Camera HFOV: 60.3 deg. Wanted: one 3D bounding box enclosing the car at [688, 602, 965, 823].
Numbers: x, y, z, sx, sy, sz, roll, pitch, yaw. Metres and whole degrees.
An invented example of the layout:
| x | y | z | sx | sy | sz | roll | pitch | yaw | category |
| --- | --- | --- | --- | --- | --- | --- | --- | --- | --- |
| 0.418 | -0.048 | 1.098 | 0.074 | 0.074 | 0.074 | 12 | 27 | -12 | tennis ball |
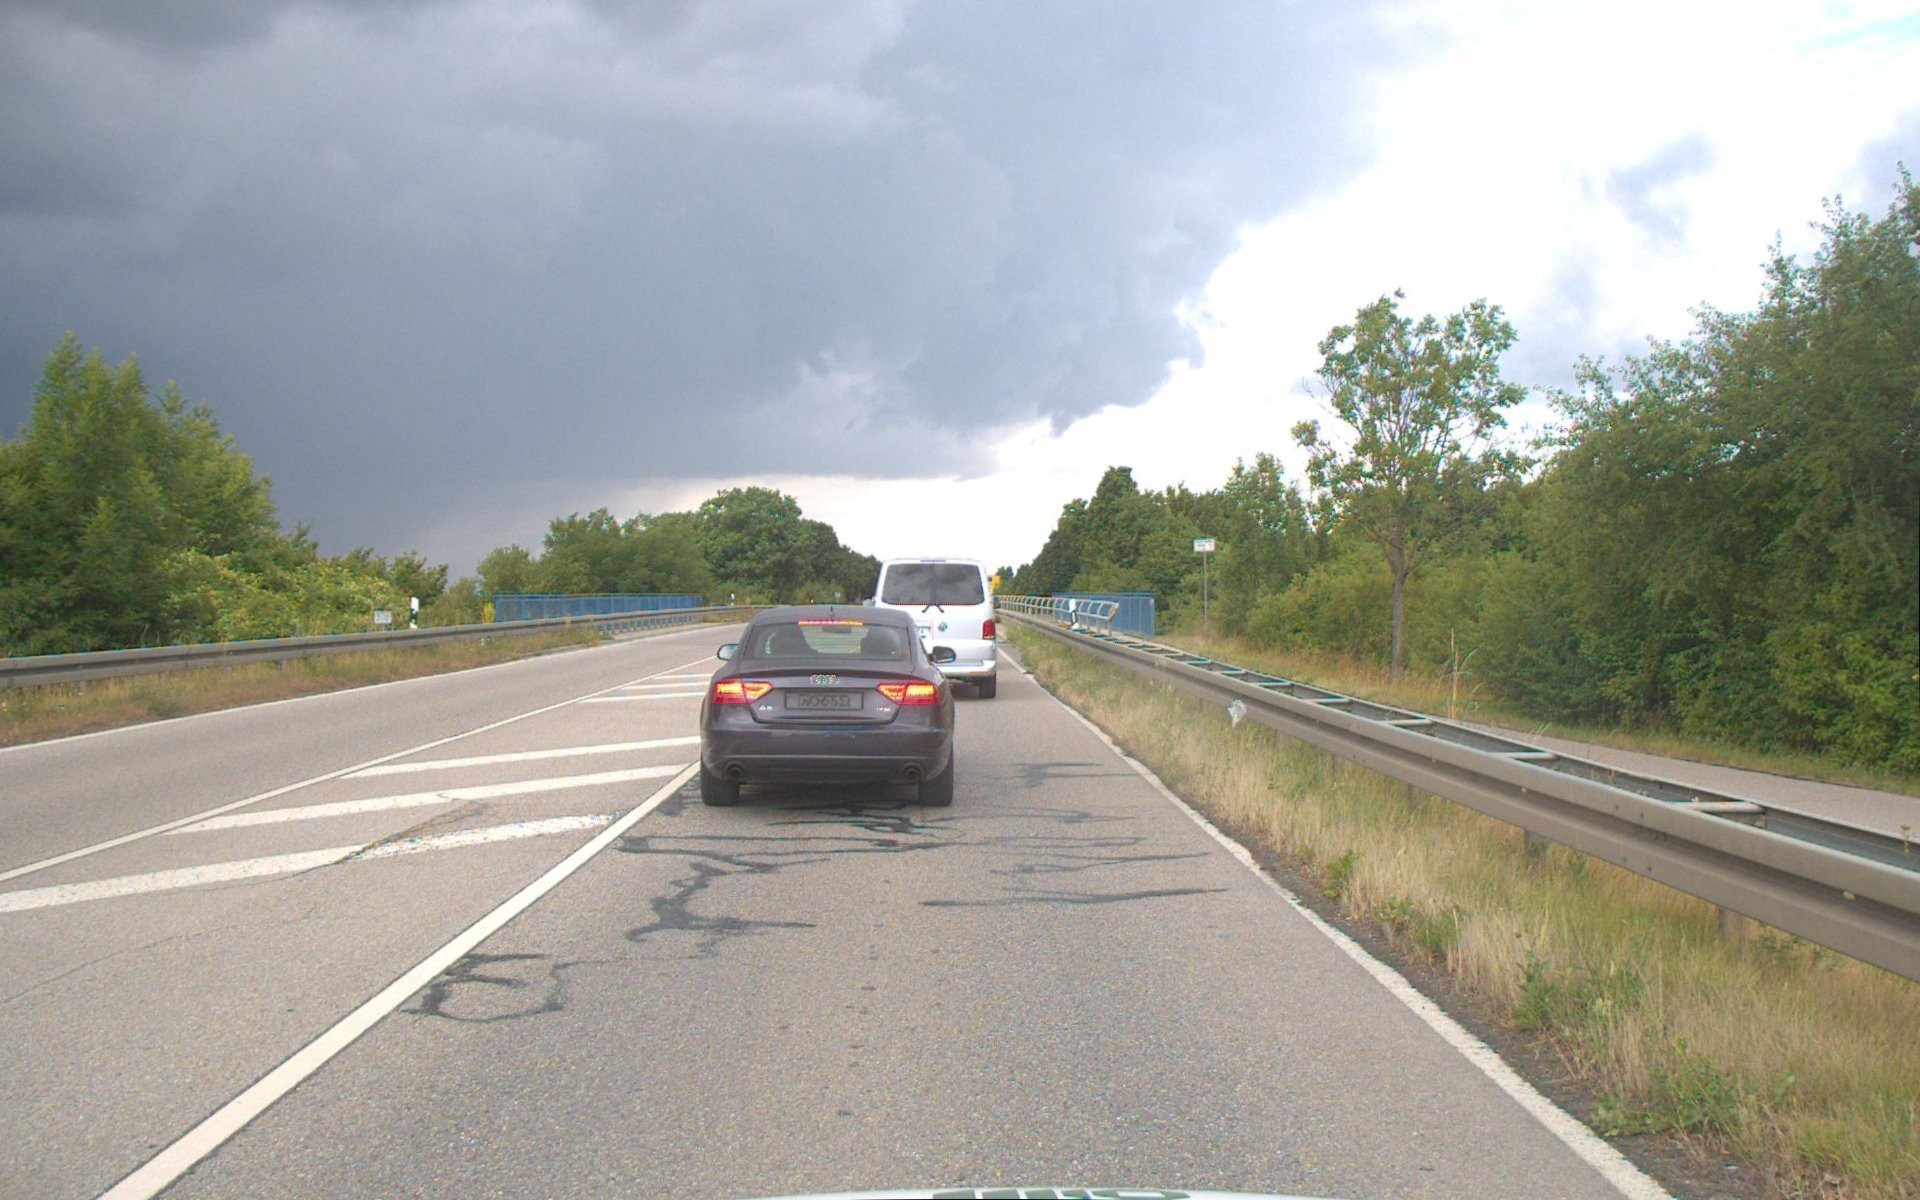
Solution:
| x | y | z | sx | sy | sz | roll | pitch | yaw | category |
| --- | --- | --- | --- | --- | --- | --- | --- | --- | --- |
| -0.900 | 0.734 | 12.786 | 1.784 | 1.405 | 4.071 | -1 | 0 | -1 | car |

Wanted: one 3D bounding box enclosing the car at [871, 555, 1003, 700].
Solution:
| x | y | z | sx | sy | sz | roll | pitch | yaw | category |
| --- | --- | --- | --- | --- | --- | --- | --- | --- | --- |
| -0.351 | 0.371 | 24.676 | 1.791 | 1.969 | 3.999 | -1 | 0 | -1 | car |

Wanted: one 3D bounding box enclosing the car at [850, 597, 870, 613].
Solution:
| x | y | z | sx | sy | sz | roll | pitch | yaw | category |
| --- | --- | --- | --- | --- | --- | --- | --- | --- | --- |
| -9.247 | 0.463 | 152.918 | 1.763 | 1.475 | 4.444 | -1 | 0 | -2 | car |
